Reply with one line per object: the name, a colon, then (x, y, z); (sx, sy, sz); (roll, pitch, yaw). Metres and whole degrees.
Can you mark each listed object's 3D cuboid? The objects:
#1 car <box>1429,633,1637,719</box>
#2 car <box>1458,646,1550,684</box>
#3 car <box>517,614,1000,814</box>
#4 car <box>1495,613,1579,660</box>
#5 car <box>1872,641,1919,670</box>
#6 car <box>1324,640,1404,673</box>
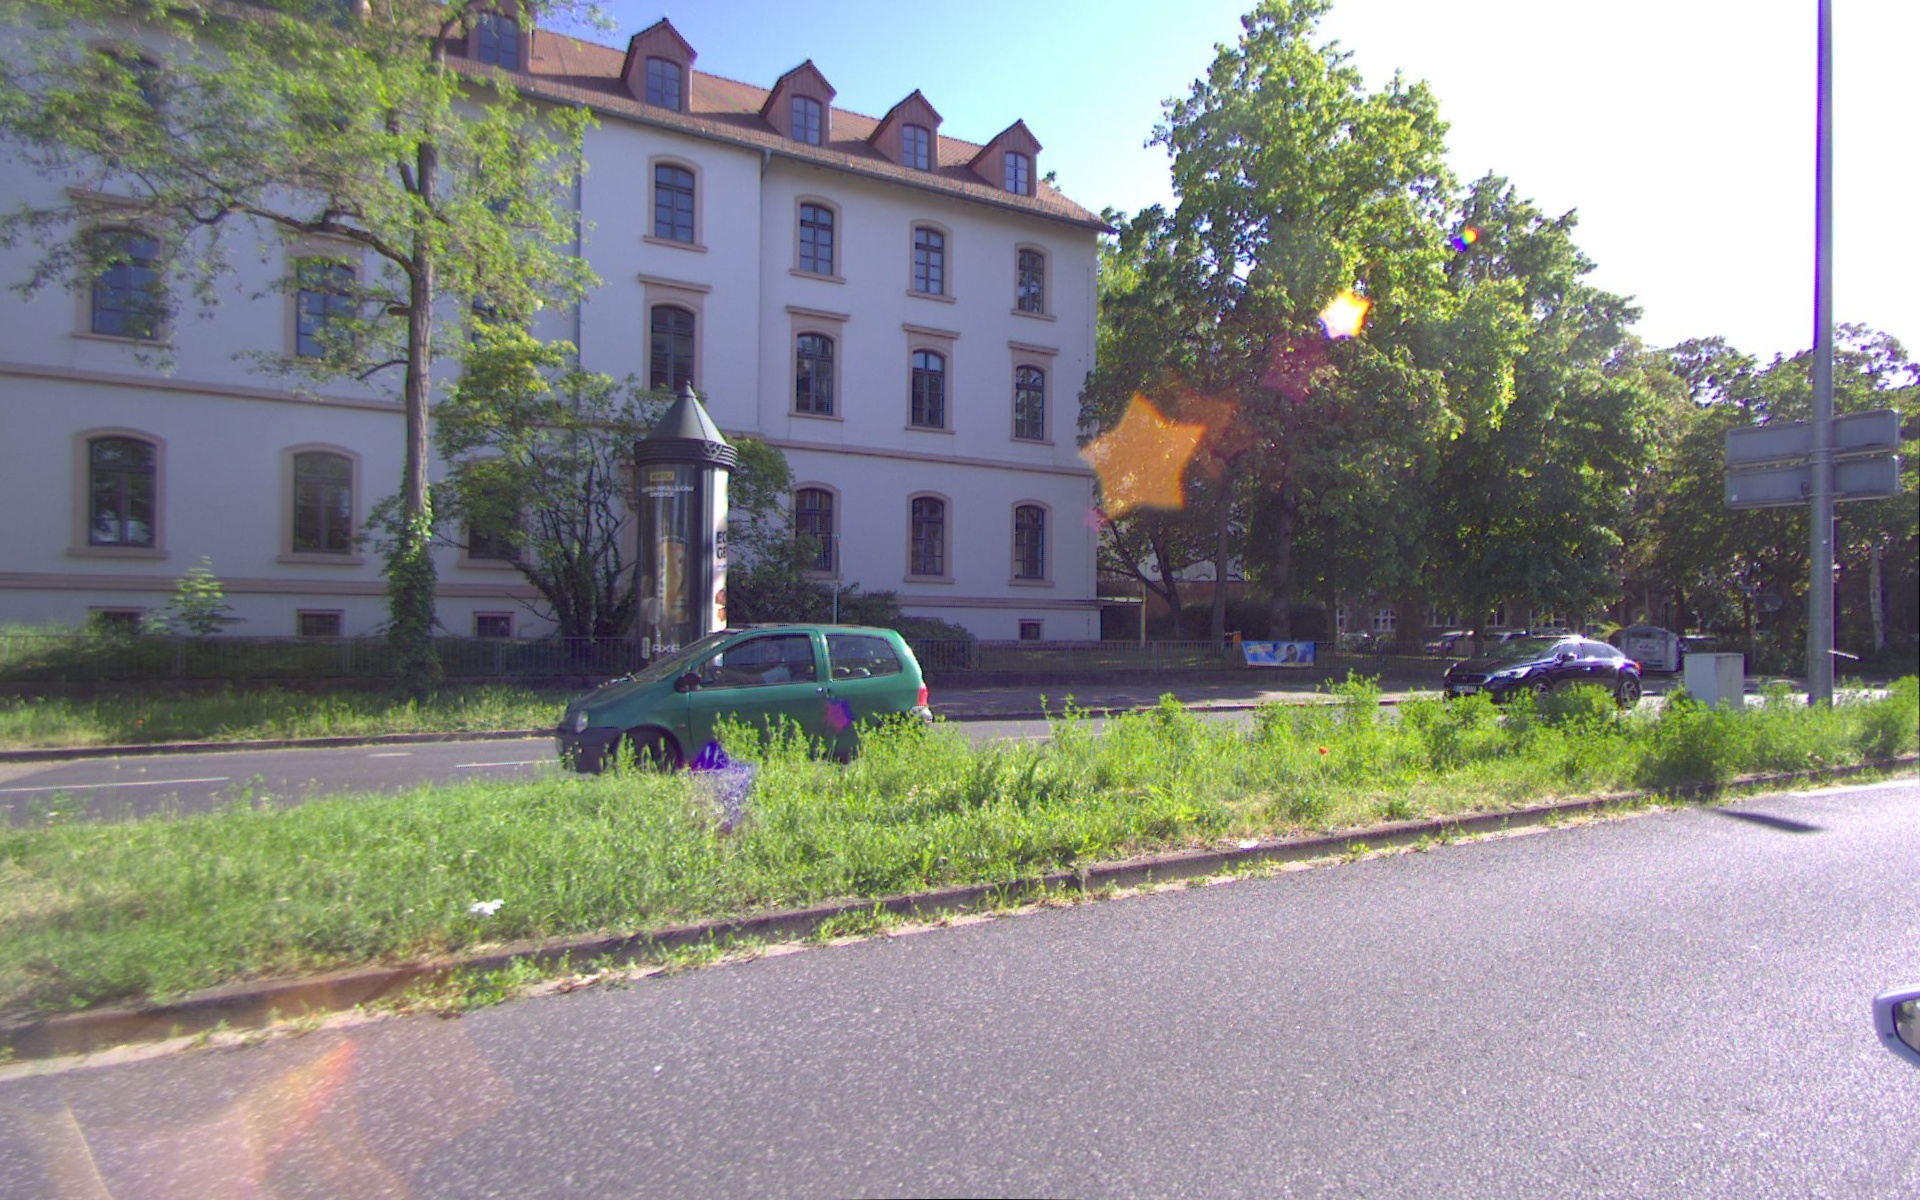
car: (11.793, 1.479, 20.612); (4.372, 1.539, 1.787); (1, 0, -31)
car: (25.183, 3.003, 46.475); (3.952, 1.510, 1.838); (5, -2, -29)
car: (-1.818, 0.943, 9.531); (4.209, 1.539, 1.630); (1, -2, -31)
car: (33.265, 2.116, 57.905); (4.925, 2.354, 1.838); (5, -2, -28)
car: (57.449, 3.358, 61.229); (1.946, 1.684, 3.993); (-1, -2, 30)
car: (21.528, 3.011, 53.499); (3.952, 1.510, 1.838); (5, -2, -29)
